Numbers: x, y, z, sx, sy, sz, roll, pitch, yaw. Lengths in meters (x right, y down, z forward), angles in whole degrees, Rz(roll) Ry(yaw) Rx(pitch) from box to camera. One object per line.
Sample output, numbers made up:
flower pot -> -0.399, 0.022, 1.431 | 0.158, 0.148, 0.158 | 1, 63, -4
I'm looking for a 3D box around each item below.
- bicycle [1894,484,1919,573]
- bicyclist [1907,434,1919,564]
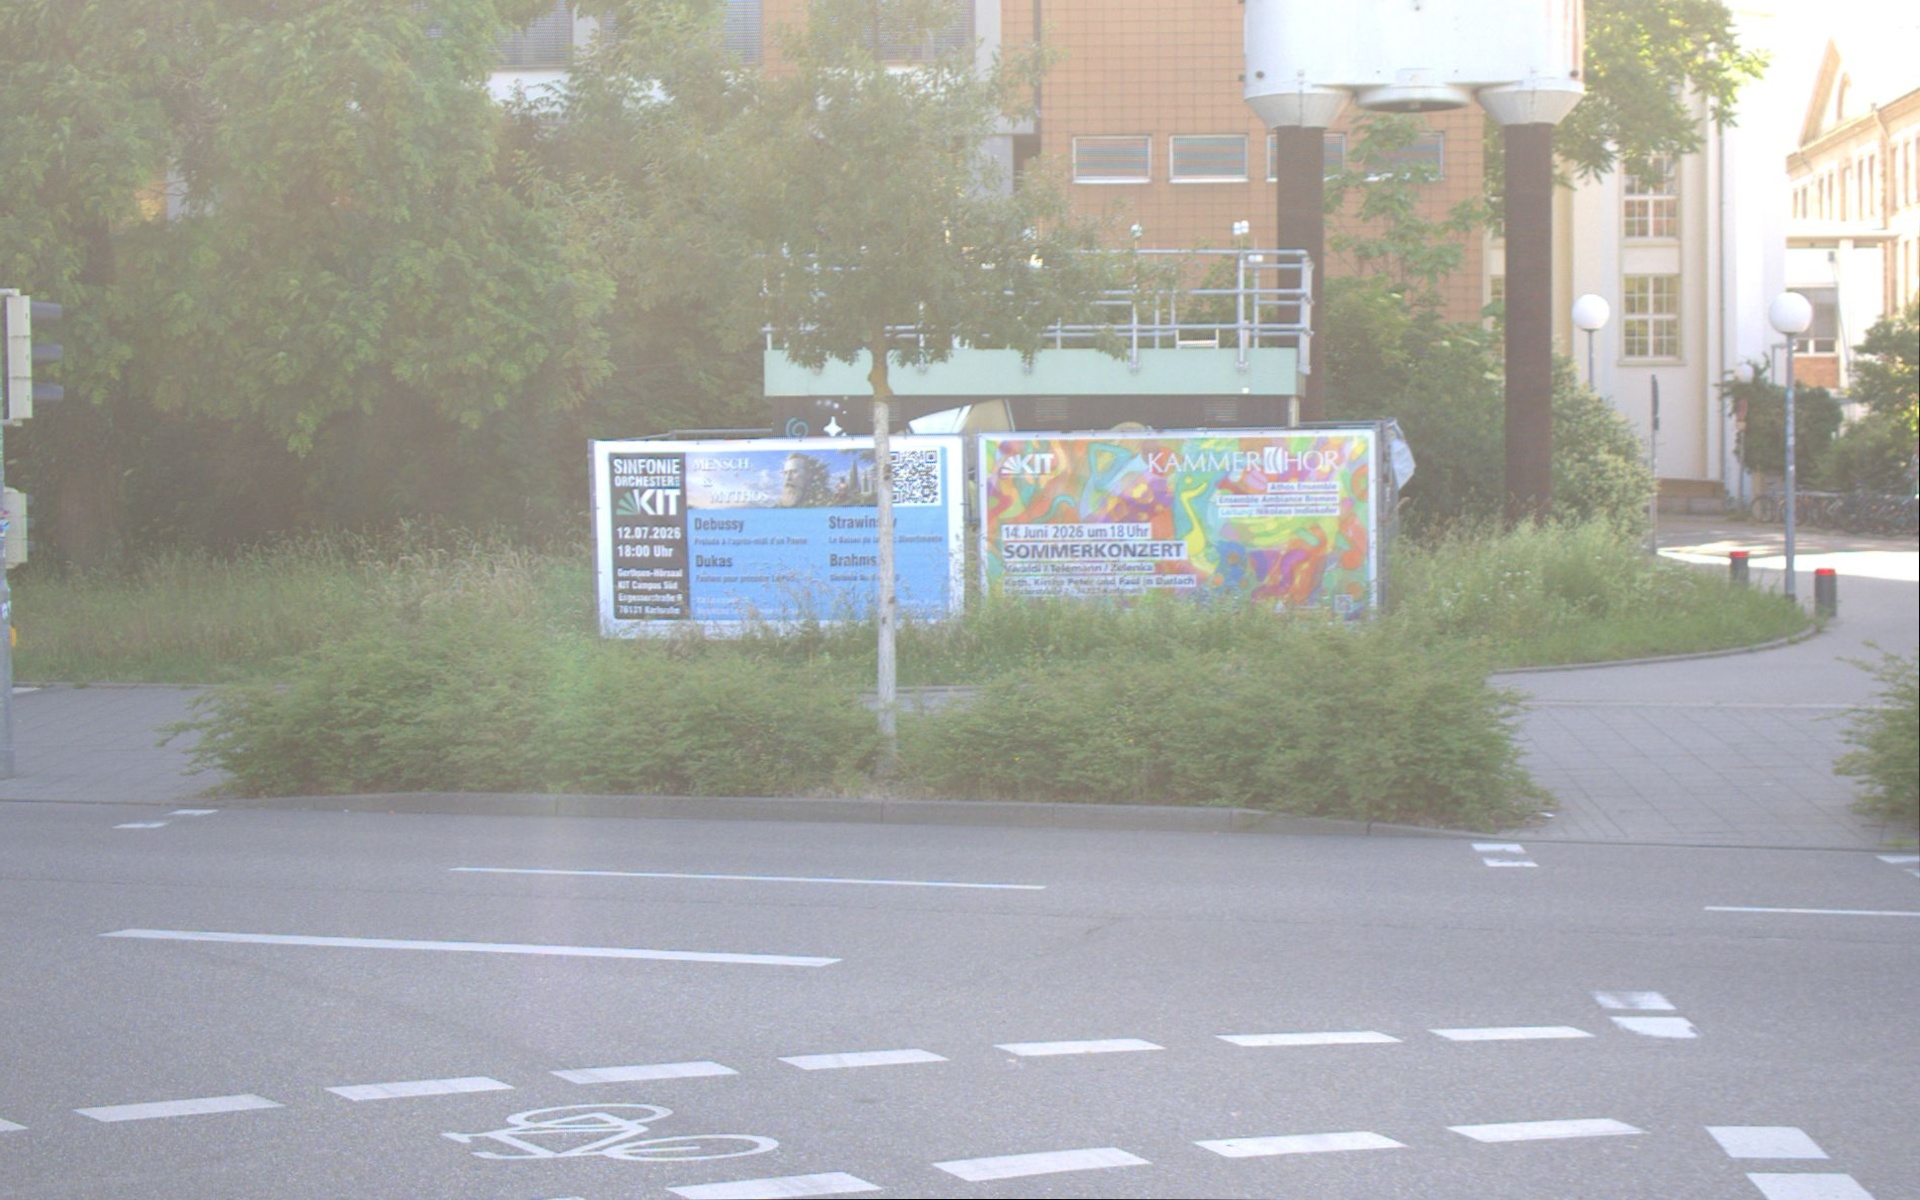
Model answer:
bicycle -> 13.160, -0.966, 45.795 | 0.747, 1.161, 1.866 | 2, 3, 36
bicyclist -> 13.152, -1.346, 45.773 | 0.721, 1.729, 0.976 | 2, 3, 36
